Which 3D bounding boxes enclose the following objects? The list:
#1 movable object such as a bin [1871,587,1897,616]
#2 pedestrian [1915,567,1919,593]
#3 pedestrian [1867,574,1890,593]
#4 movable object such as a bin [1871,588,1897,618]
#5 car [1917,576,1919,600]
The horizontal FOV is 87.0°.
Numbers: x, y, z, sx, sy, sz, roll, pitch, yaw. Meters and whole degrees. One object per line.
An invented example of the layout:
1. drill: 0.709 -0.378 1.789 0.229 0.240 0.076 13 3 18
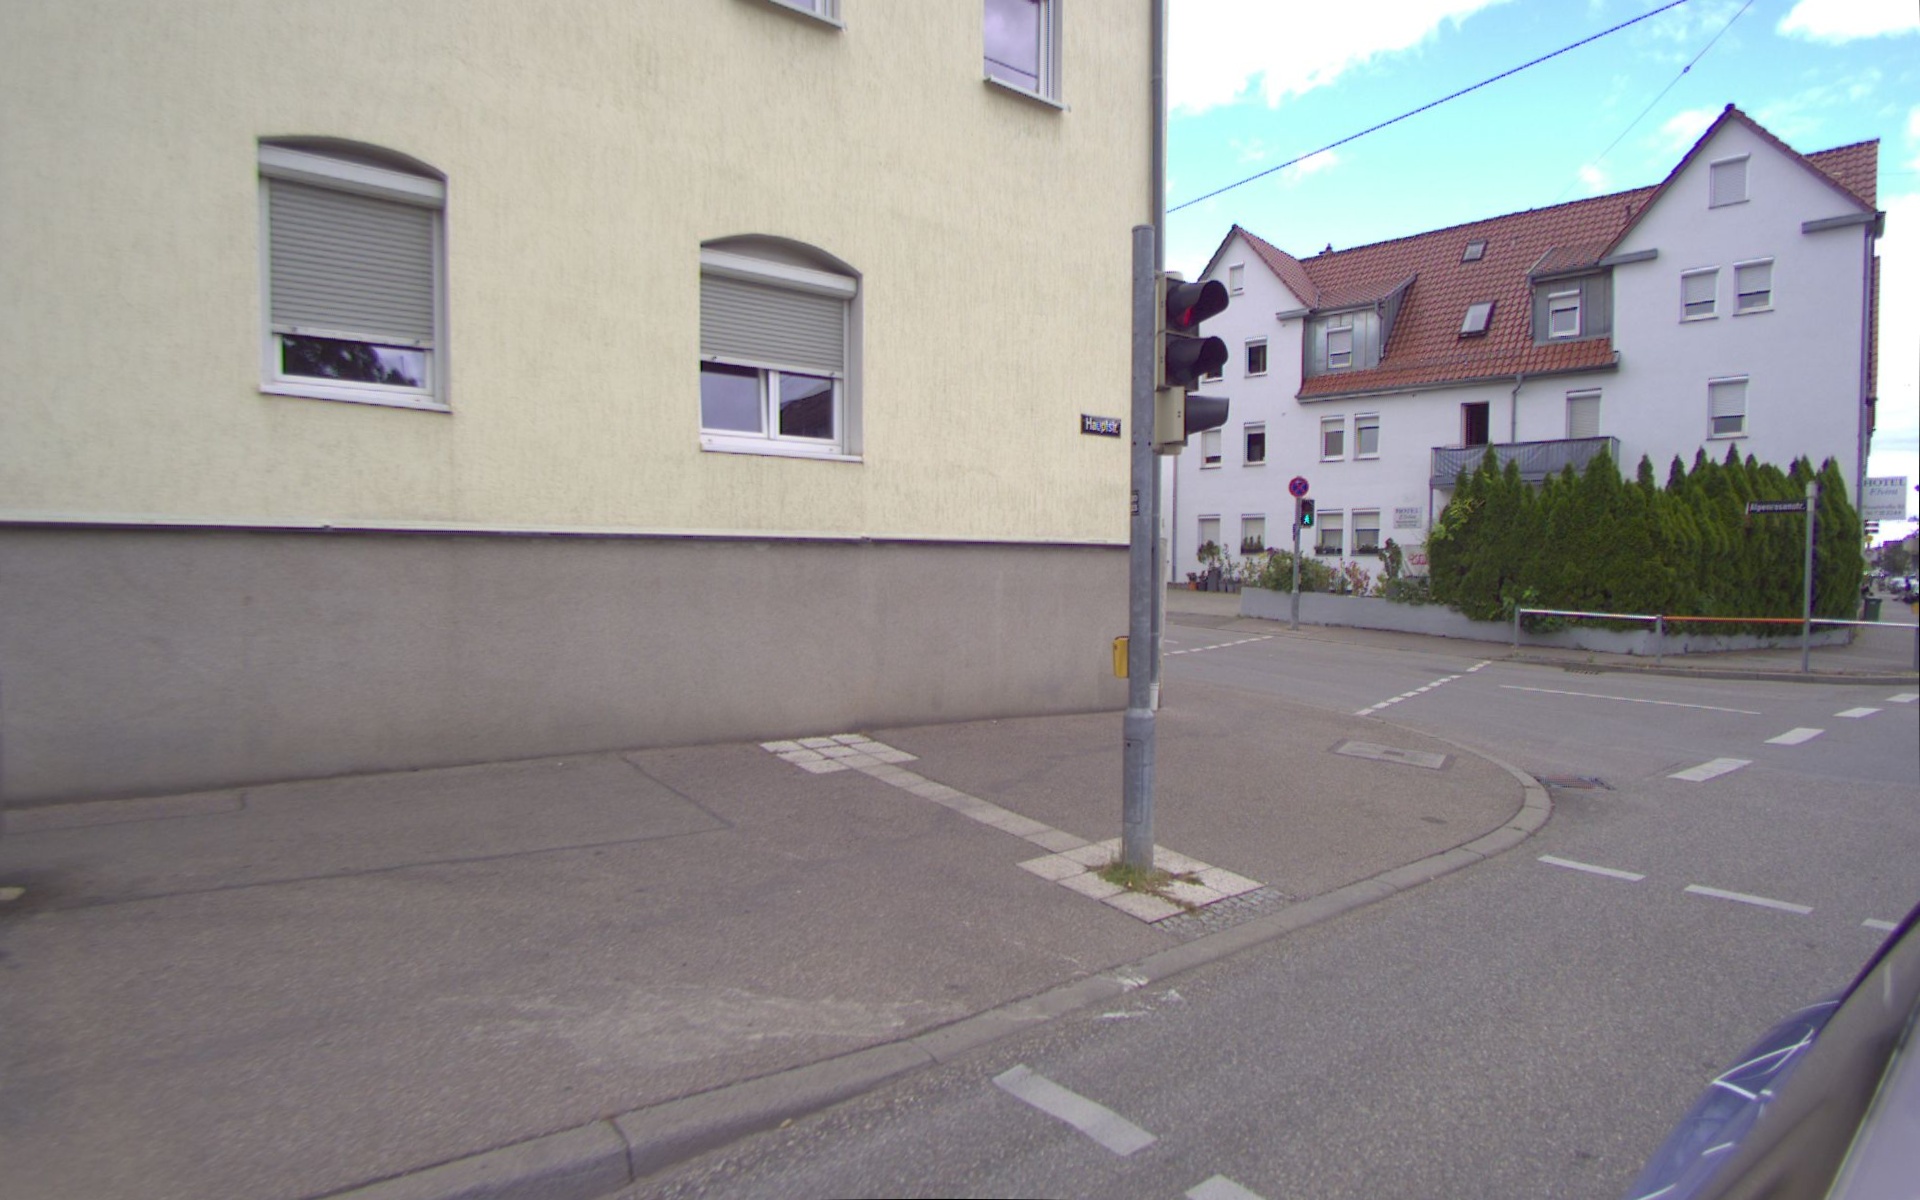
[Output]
1. movable object such as a bin: 30.613 0.057 33.531 0.564 0.914 0.511 4 4 44
2. pedestrian: 66.260 -1.372 69.789 0.496 1.775 0.444 3 3 45
3. pedestrian: 64.157 -1.141 70.695 0.653 1.295 0.984 0 3 -34
4. movable object such as a bin: 30.218 0.087 33.092 0.564 0.914 0.511 4 4 44
5. car: 64.041 -0.810 66.237 1.840 1.538 3.941 1 2 41
